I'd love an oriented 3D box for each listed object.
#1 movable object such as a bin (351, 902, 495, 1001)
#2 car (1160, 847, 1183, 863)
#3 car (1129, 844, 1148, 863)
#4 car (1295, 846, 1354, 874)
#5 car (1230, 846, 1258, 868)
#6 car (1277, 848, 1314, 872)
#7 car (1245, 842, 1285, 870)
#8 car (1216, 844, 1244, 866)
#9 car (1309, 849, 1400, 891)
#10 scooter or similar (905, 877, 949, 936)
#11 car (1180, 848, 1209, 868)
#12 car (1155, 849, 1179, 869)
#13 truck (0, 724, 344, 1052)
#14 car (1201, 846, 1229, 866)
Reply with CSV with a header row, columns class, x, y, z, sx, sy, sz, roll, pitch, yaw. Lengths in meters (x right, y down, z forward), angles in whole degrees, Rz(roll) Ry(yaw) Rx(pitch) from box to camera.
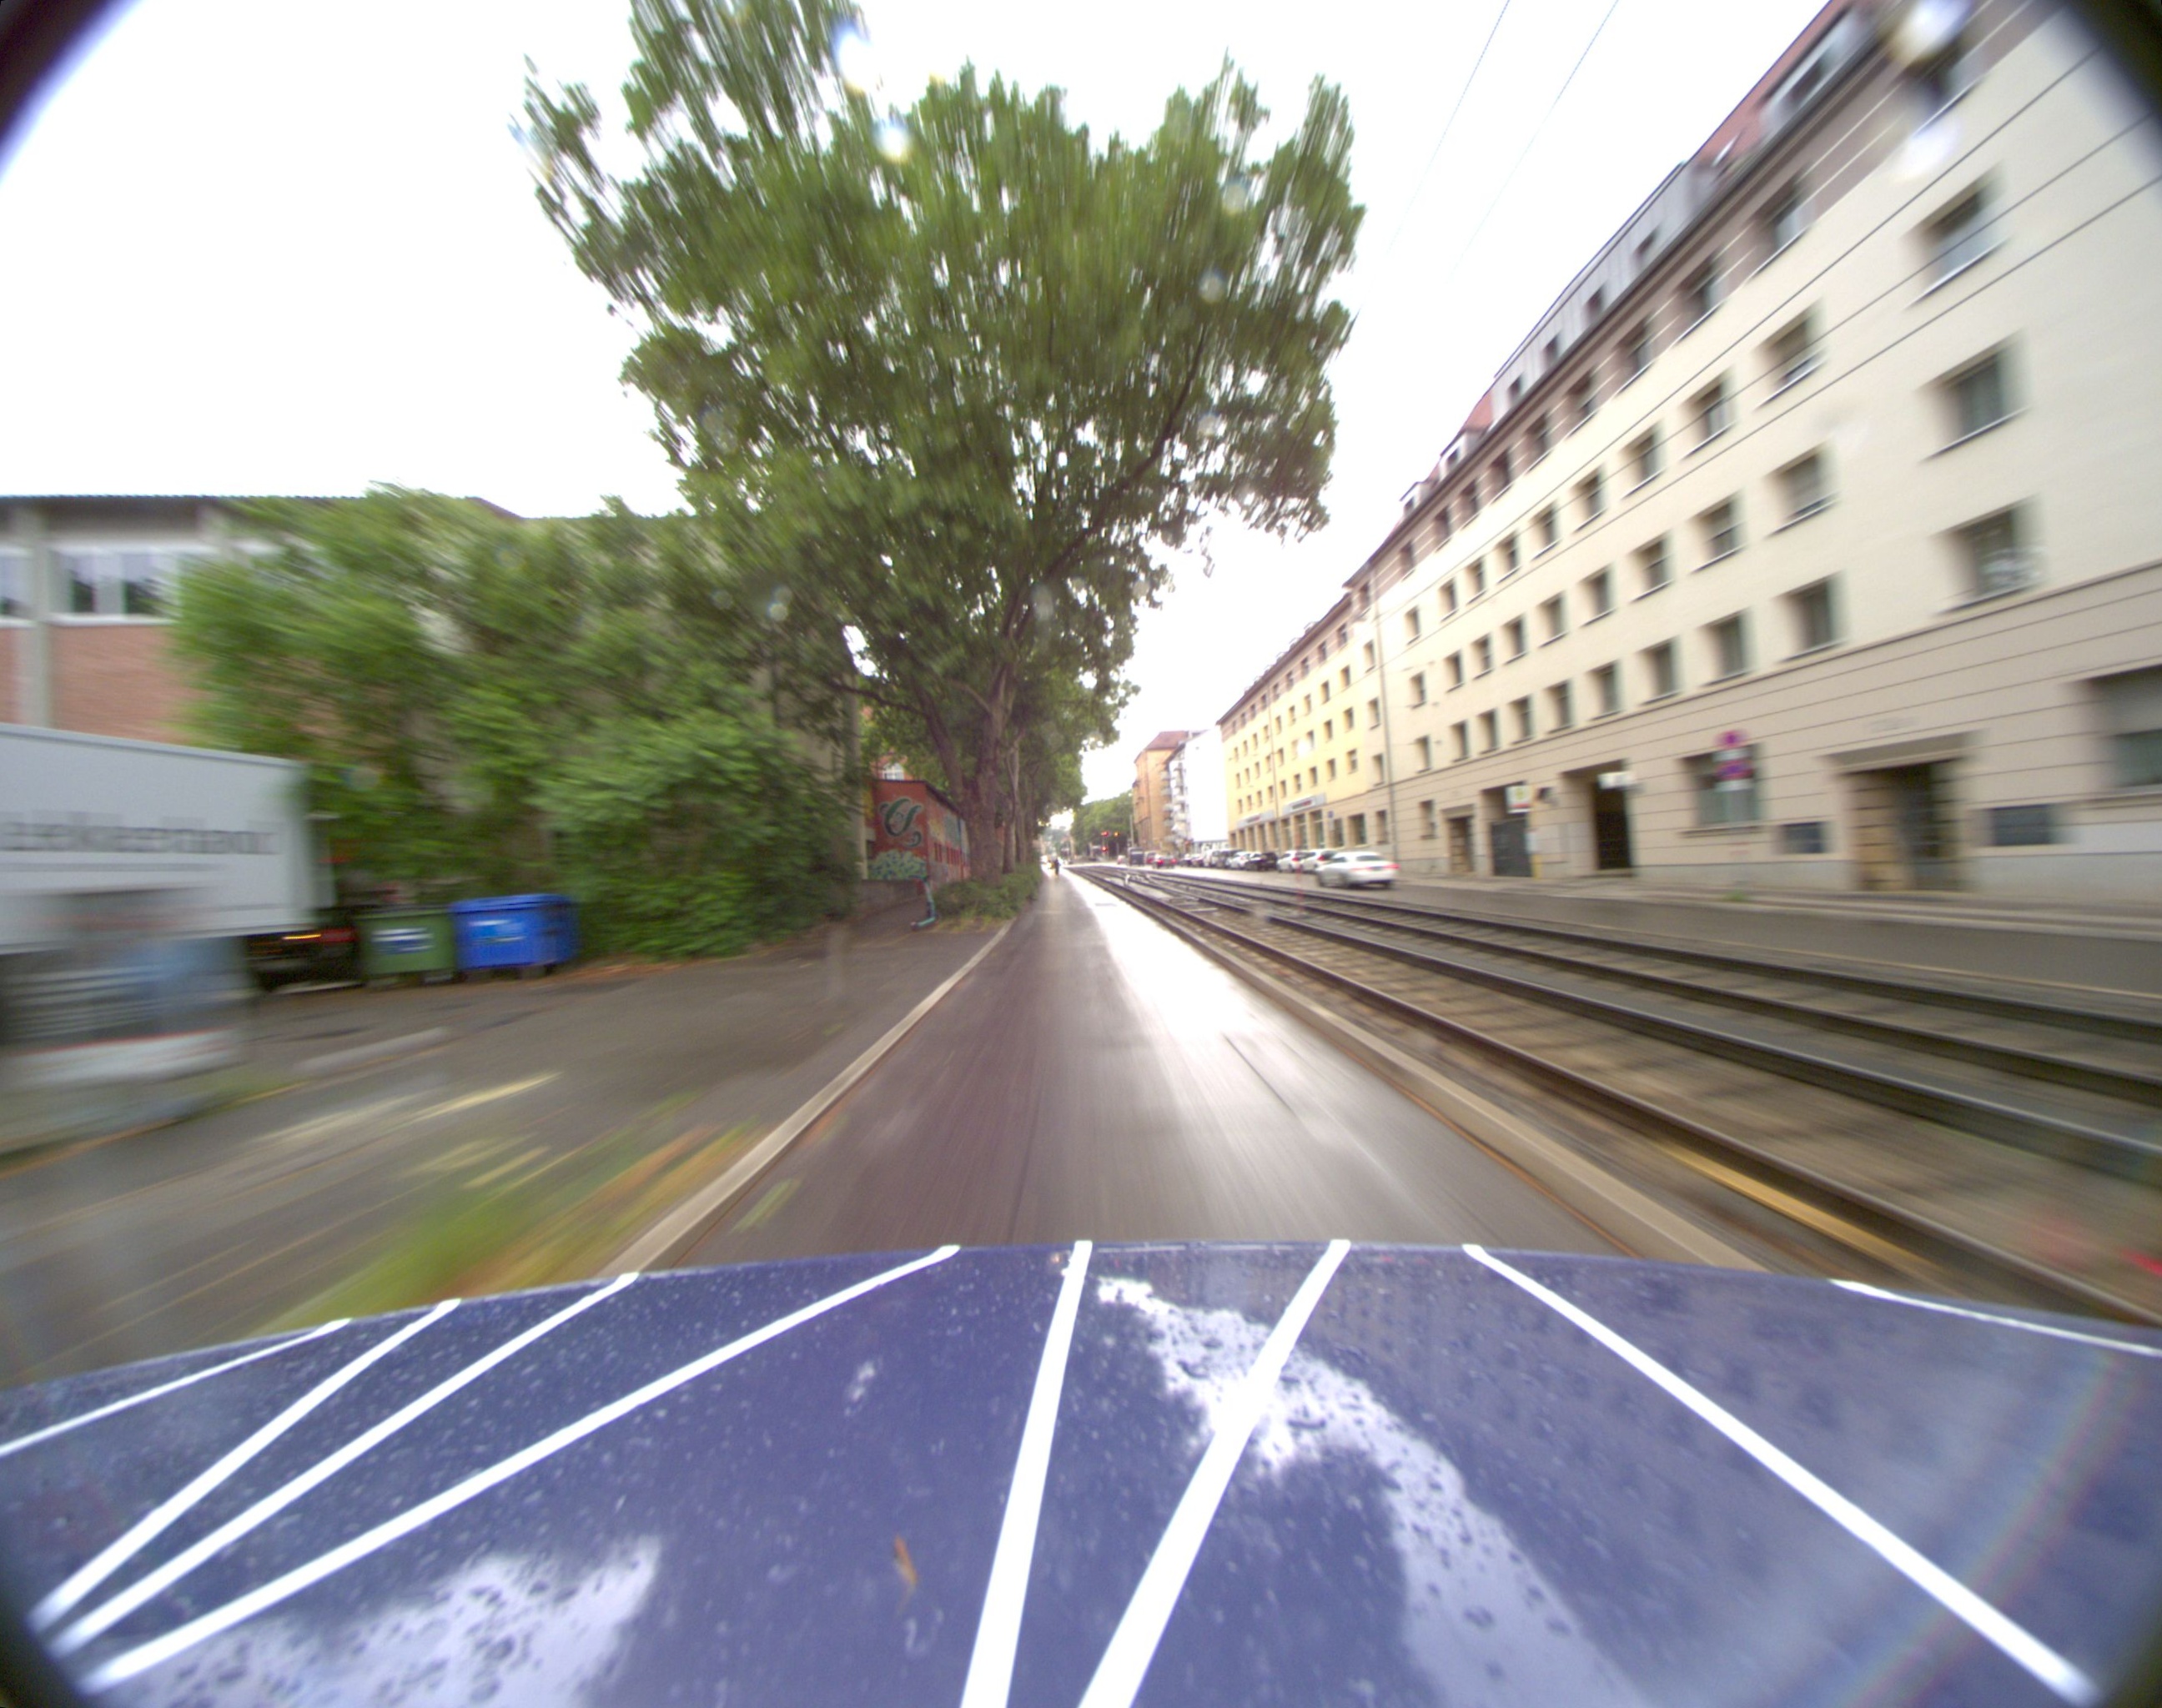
class,x,y,z,sx,sy,sz,roll,pitch,yaw
movable object such as a bin,-10.366,1.512,12.029,1.286,1.392,1.073,-2,0,1
car,11.733,0.118,98.671,2.031,2.002,4.225,-2,1,-4
car,7.996,-0.064,106.199,2.184,2.420,4.748,-2,1,-1
car,14.777,0.351,46.399,2.031,1.533,3.998,-2,1,-4
car,13.542,0.212,63.289,1.377,1.743,3.404,-2,1,-4
car,14.297,0.383,50.735,1.326,1.476,3.189,-2,1,-4
car,13.924,0.117,57.741,1.729,1.948,4.298,-2,1,-2
car,13.314,0.098,67.924,1.557,1.872,4.040,-2,1,-1
car,11.055,0.605,31.104,1.691,1.527,5.016,-2,0,-2
scooter or similar,-3.518,1.180,17.418,0.400,1.186,1.363,-2,3,13
car,11.864,0.421,79.668,2.031,2.002,4.225,-2,1,-4
car,9.207,0.508,81.706,1.949,2.002,3.999,-2,1,-1
truck,-13.120,0.435,6.689,2.660,3.548,10.256,-2,1,3
car,13.071,0.163,74.243,1.727,1.798,3.590,-2,1,-4
